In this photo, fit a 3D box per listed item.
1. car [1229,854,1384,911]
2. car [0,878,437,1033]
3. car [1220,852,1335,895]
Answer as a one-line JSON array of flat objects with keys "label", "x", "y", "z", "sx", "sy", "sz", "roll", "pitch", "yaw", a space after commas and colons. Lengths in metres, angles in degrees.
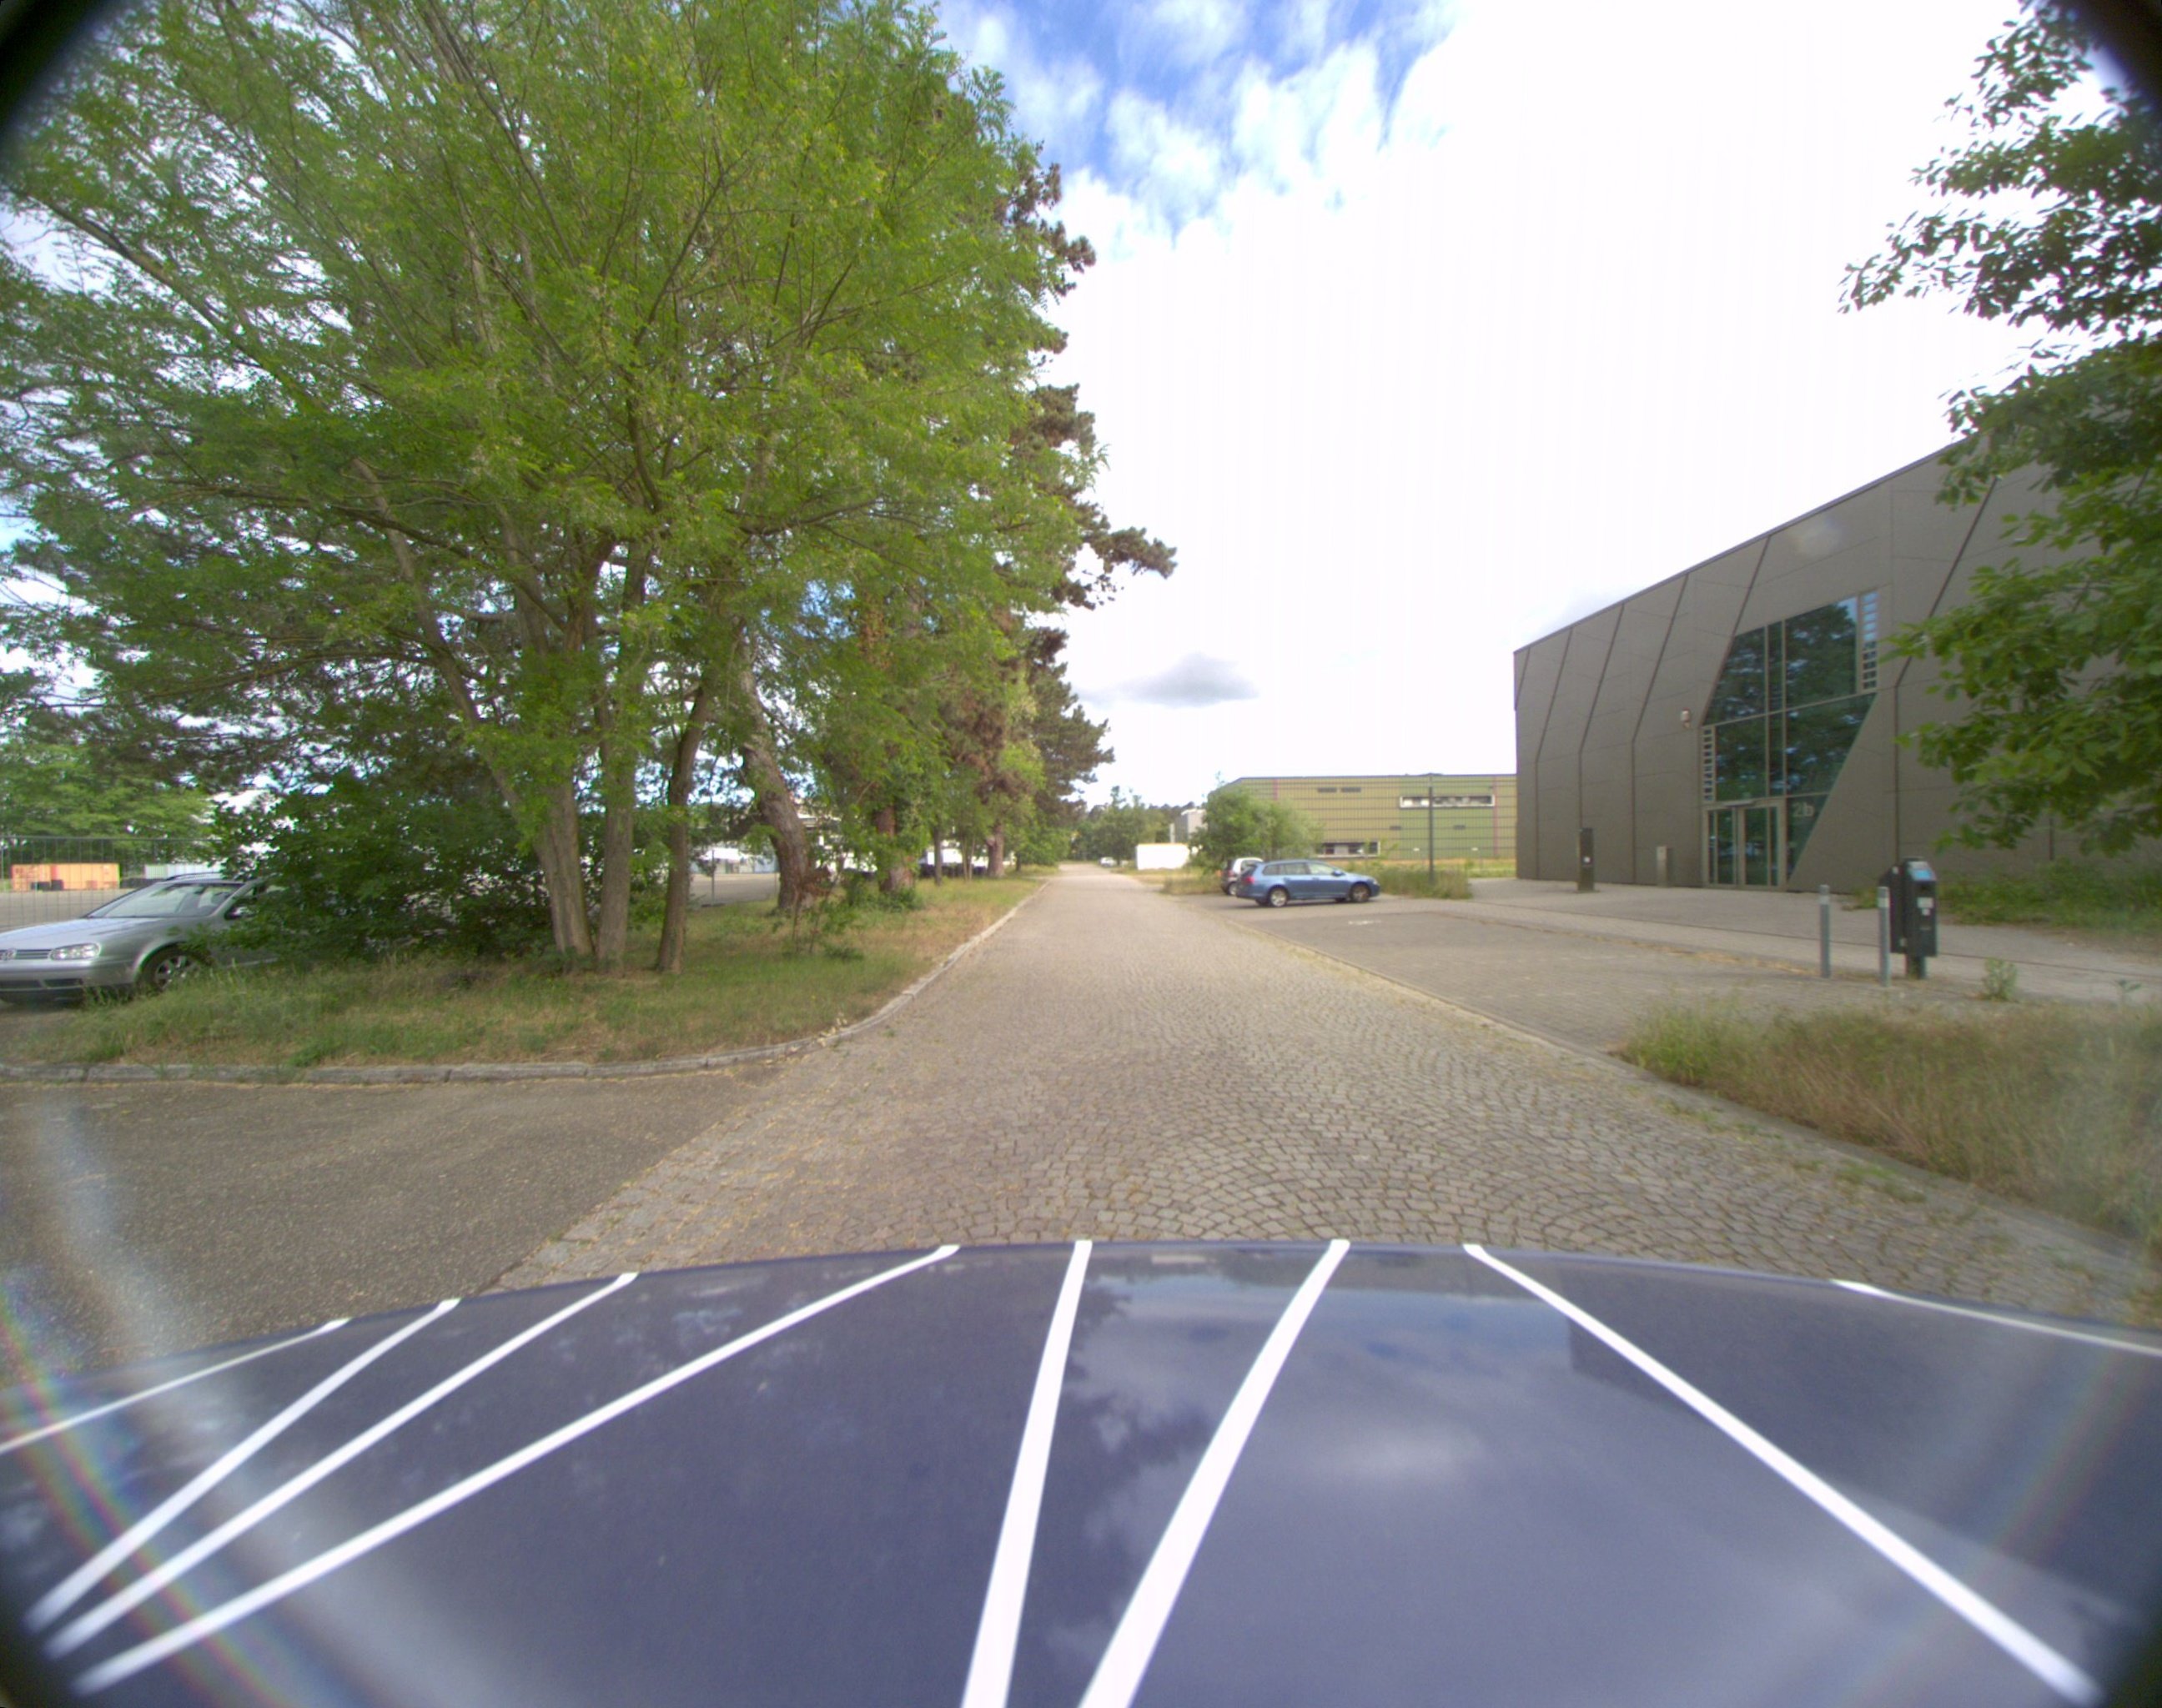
[{"label": "car", "x": 7.212, "y": 0.879, "z": 24.541, "sx": 4.404, "sy": 1.501, "sz": 1.716, "roll": -3, "pitch": 0, "yaw": -3}, {"label": "car", "x": -11.159, "y": 1.108, "z": 9.925, "sx": 1.759, "sy": 1.440, "sz": 4.327, "roll": -1, "pitch": 0, "yaw": 1}, {"label": "car", "x": 8.141, "y": 0.793, "z": 31.846, "sx": 4.401, "sy": 1.537, "sz": 1.842, "roll": -3, "pitch": 0, "yaw": 6}]
